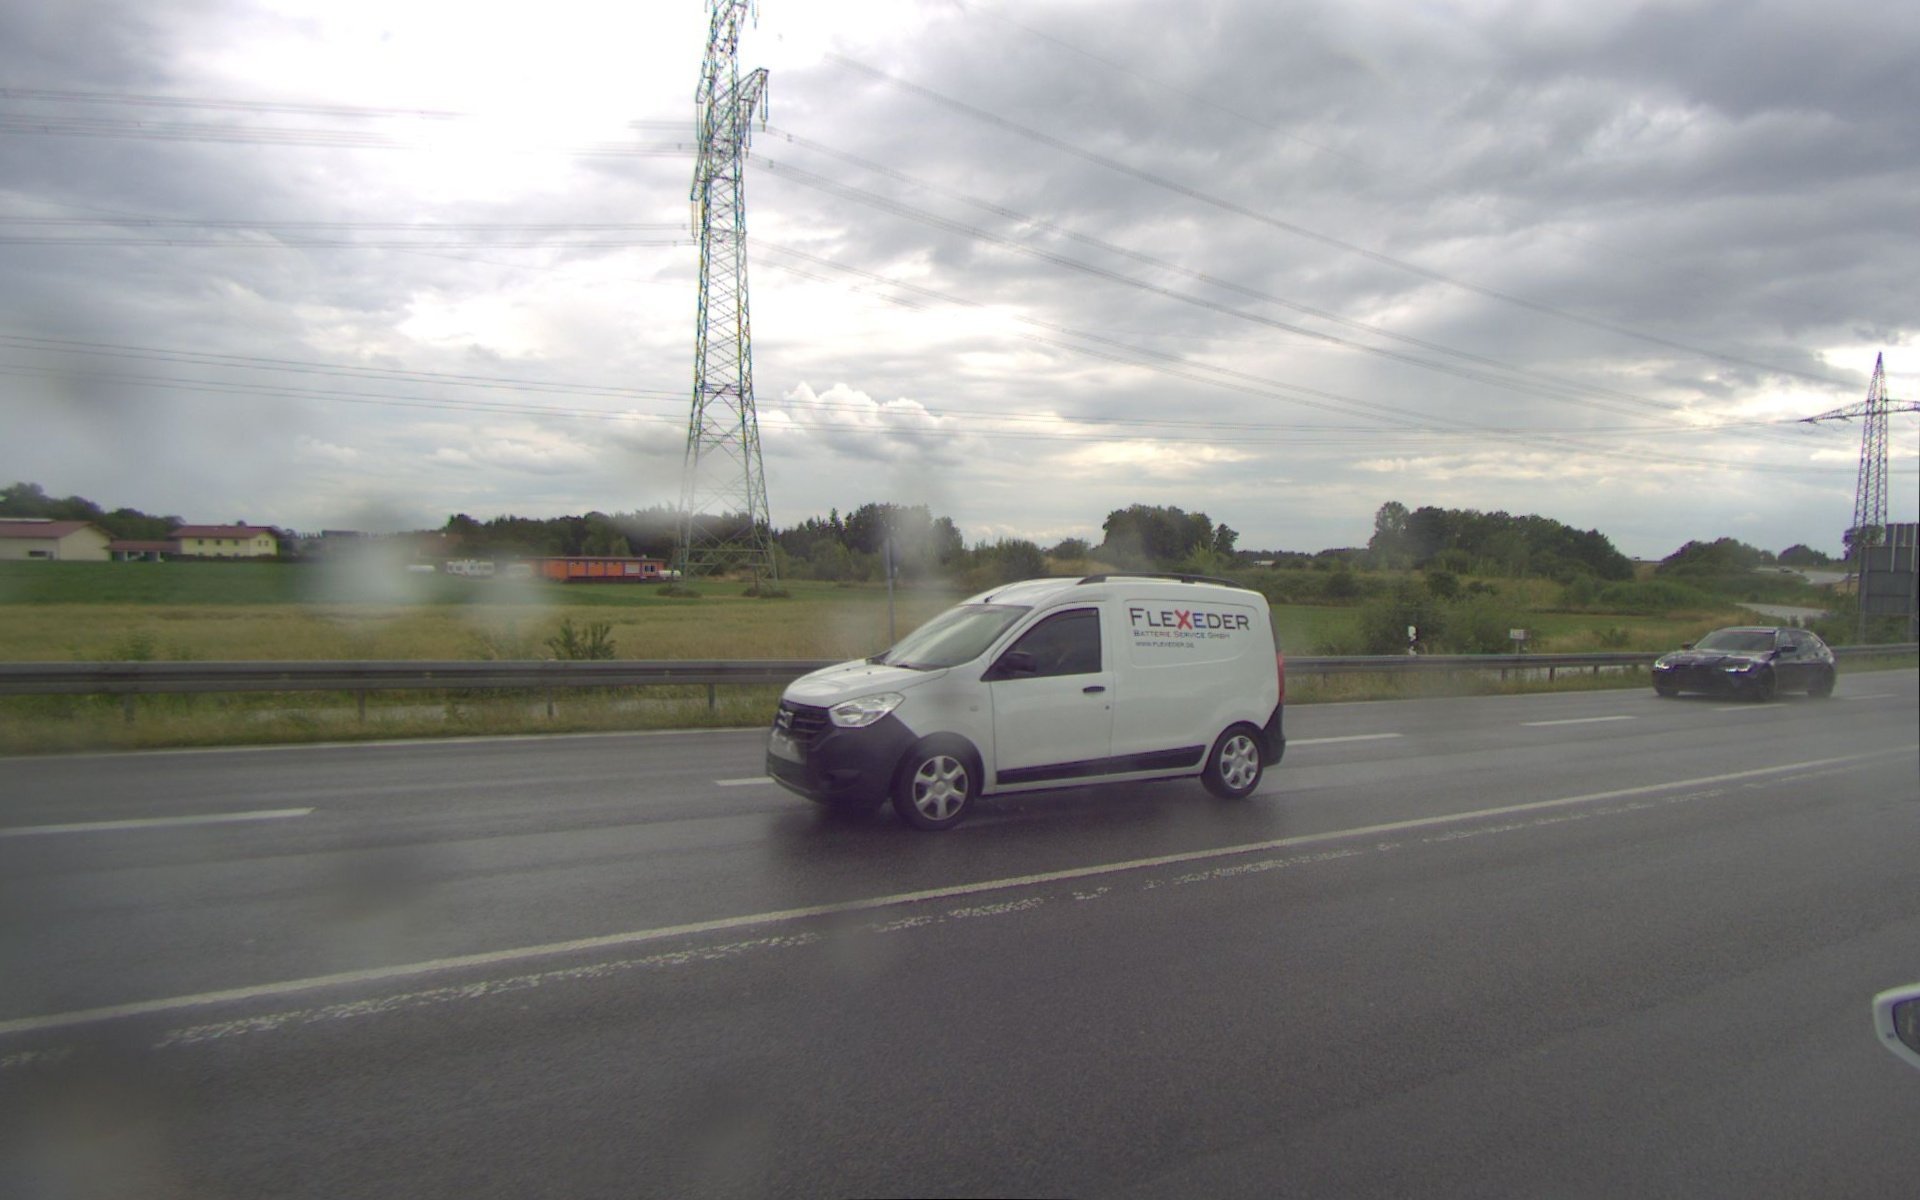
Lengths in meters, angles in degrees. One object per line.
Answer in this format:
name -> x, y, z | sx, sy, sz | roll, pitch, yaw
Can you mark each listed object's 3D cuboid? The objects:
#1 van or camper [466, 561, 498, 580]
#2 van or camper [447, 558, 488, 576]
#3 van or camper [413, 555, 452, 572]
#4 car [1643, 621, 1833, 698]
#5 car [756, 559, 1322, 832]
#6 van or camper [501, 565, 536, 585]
van or camper -> -74.109, -4.607, 155.762 | 5.629, 2.667, 2.318 | 5, 3, 39
van or camper -> -81.668, -5.440, 166.666 | 5.678, 2.667, 2.298 | 1, 3, -44
van or camper -> -94.637, -6.564, 180.284 | 5.678, 2.667, 2.298 | 1, 3, -44
car -> 16.539, 1.201, 21.267 | 4.852, 1.460, 1.883 | 2, -1, -36
car -> 0.729, 0.654, 8.099 | 4.318, 1.688, 1.782 | 1, -1, -30
van or camper -> -63.829, -3.633, 145.278 | 5.629, 2.667, 2.318 | 5, 3, 39
